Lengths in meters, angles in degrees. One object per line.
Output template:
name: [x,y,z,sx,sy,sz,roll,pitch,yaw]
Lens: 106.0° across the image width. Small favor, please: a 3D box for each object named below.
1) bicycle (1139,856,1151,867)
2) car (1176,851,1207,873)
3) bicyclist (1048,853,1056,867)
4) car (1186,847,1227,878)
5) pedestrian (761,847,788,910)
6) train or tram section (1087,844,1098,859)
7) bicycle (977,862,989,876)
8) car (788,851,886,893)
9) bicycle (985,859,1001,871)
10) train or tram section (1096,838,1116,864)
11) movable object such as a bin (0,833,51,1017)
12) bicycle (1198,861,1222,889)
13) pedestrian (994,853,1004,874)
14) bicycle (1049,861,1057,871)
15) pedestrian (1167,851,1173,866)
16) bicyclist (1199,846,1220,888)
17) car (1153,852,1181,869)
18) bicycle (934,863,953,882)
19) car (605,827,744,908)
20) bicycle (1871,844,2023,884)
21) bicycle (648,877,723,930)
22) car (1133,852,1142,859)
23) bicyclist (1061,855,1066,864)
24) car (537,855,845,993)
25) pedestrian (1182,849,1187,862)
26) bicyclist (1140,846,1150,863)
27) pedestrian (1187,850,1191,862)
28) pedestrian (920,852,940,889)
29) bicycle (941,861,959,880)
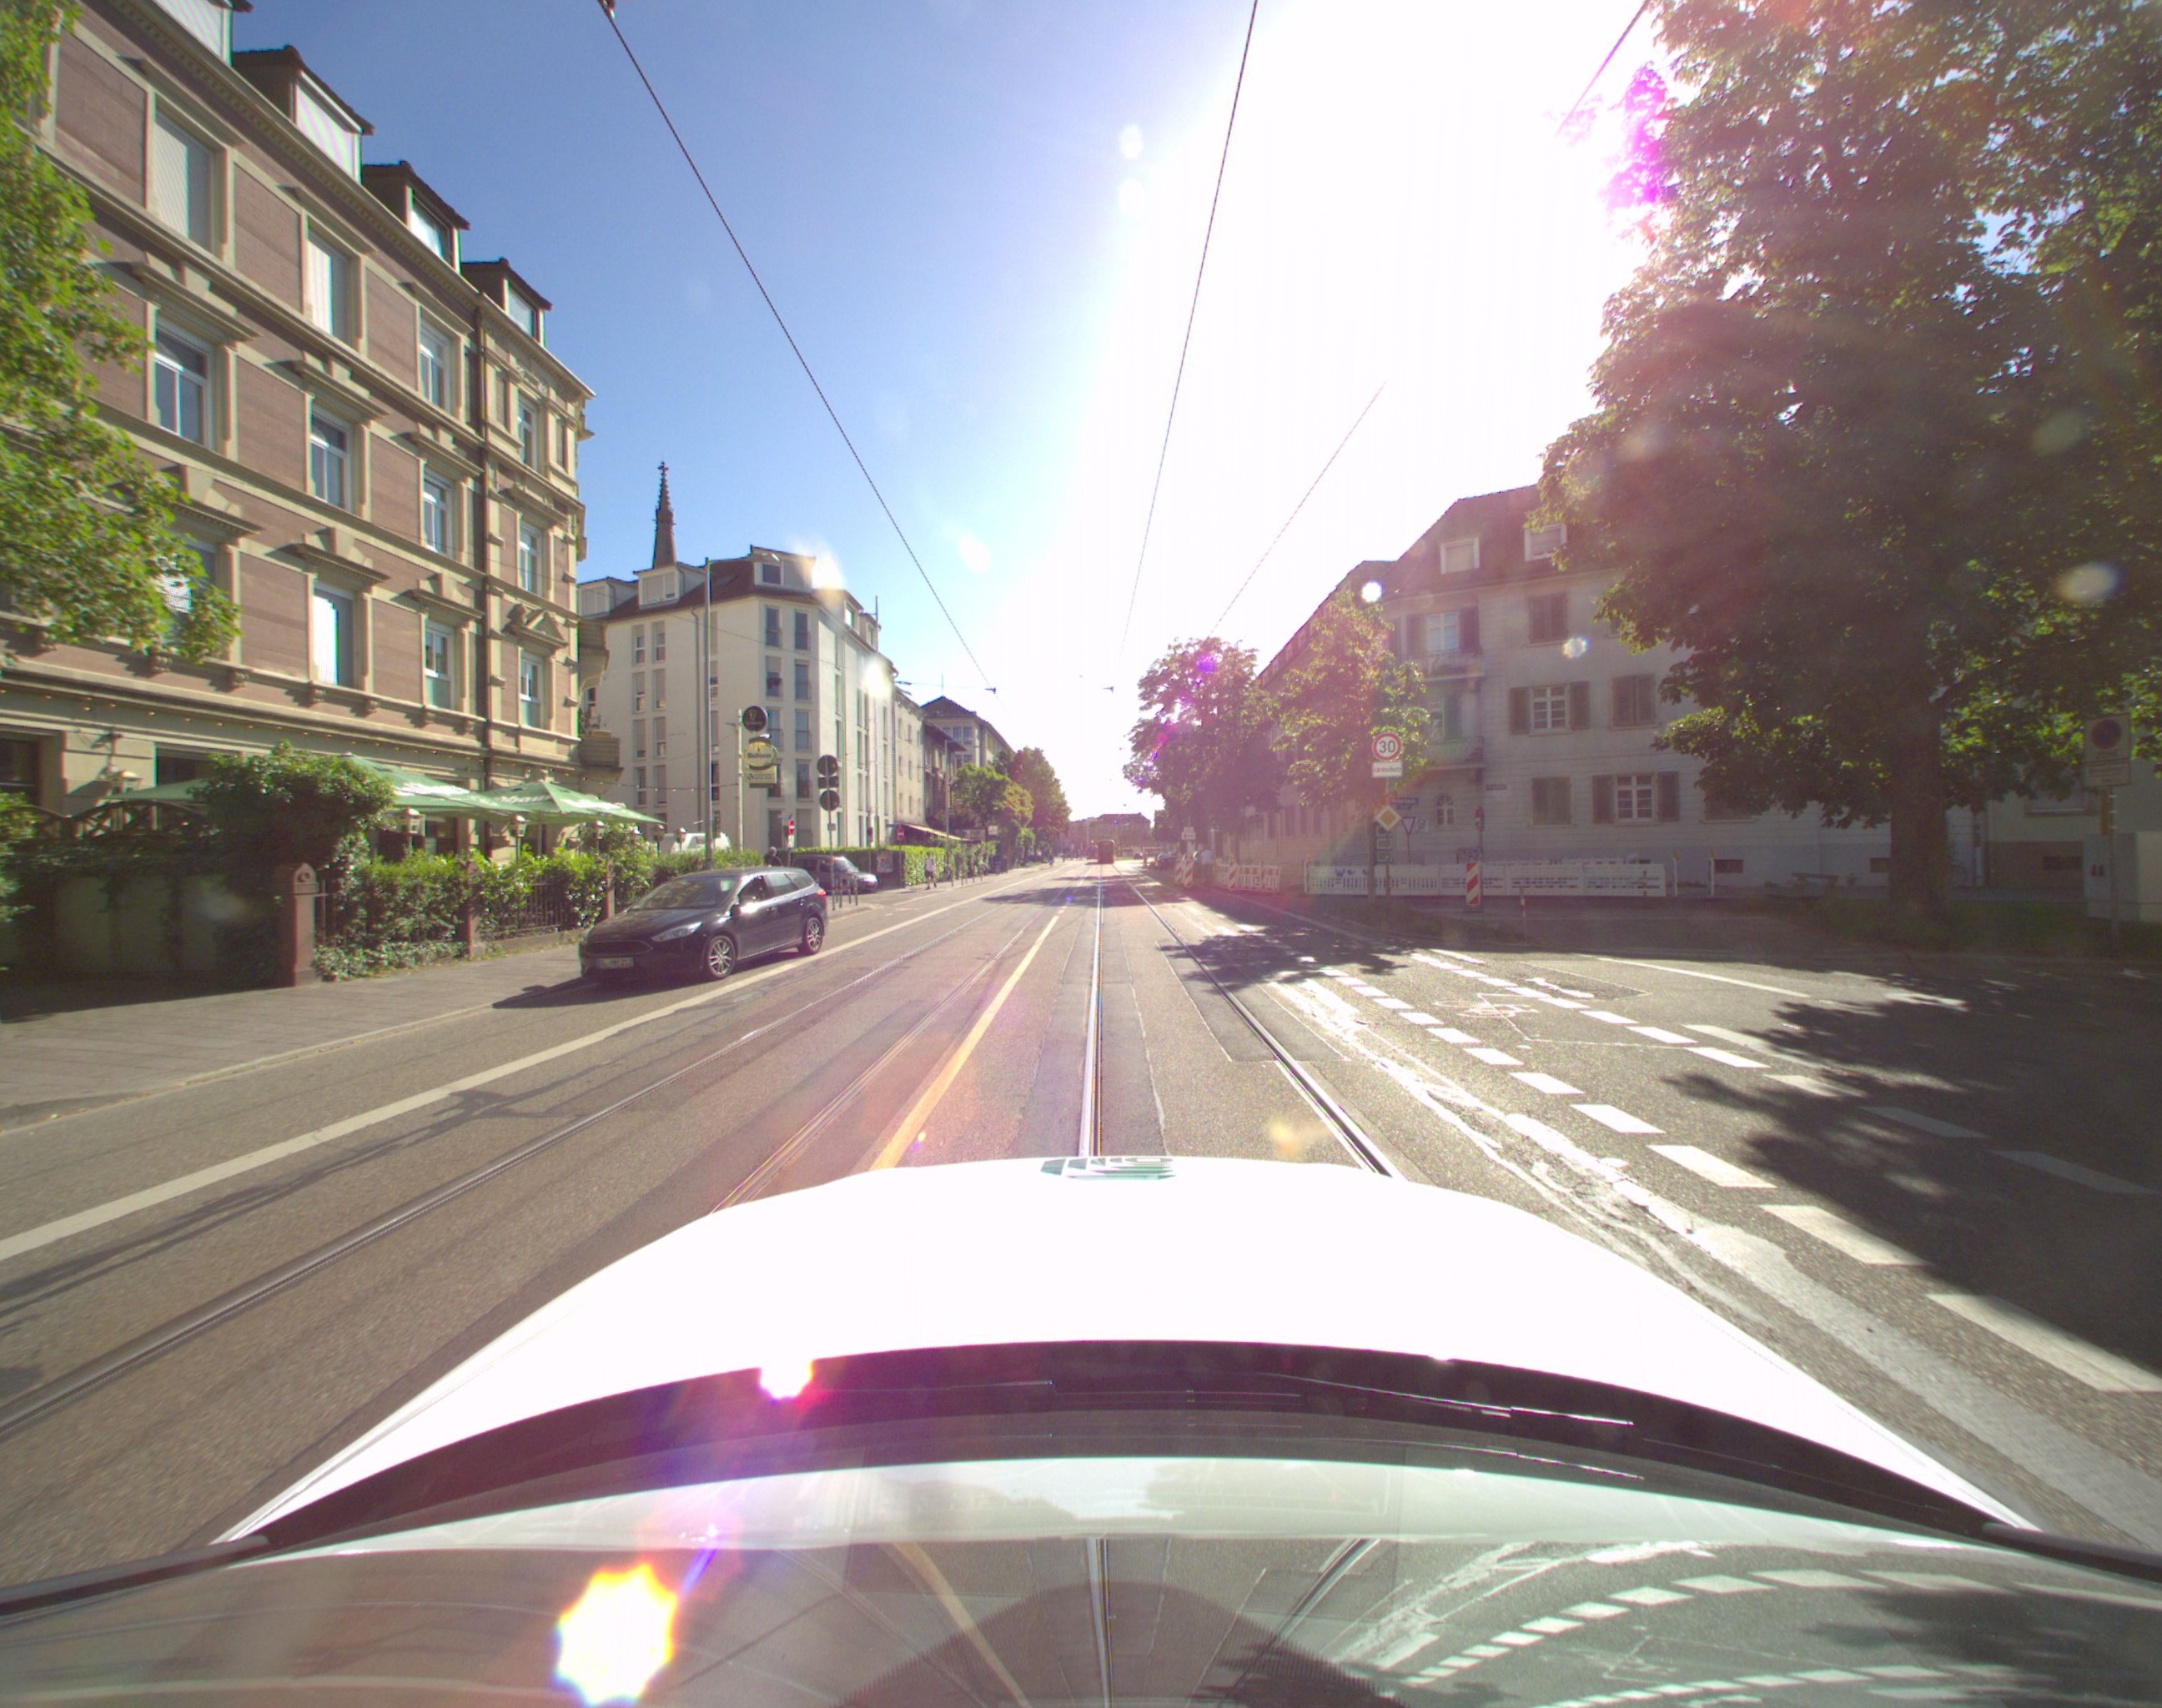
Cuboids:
bicycle: [6.314,0.716,80.655,0.699,1.104,1.726,1,1,21]
car: [7.602,0.550,56.410,1.716,1.382,4.359,-3,0,3]
bicyclist: [-3.499,0.733,98.892,0.742,1.599,1.118,-4,0,3]
car: [7.393,0.460,48.221,1.803,1.626,4.586,-3,0,2]
pedestrian: [-8.826,0.705,23.485,0.555,1.781,0.538,-1,-1,-2]
train or tram section: [3.145,-0.679,215.781,2.732,3.651,13.787,-1,0,1]
bicycle: [-7.465,1.125,62.155,0.636,1.059,1.744,1,0,3]
car: [-11.115,0.845,37.066,4.005,1.807,1.801,-2,-2,22]
bicycle: [-7.884,0.959,73.001,0.631,1.045,2.031,-1,0,18]
train or tram section: [3.684,-0.511,121.520,2.732,3.651,13.787,-1,0,1]
movable object such as a bin: [-10.886,0.659,7.666,1.275,1.731,1.047,2,0,17]
bicycle: [5.181,0.828,32.822,0.735,1.094,2.113,0,0,3]
pedestrian: [-7.328,0.853,72.912,0.570,1.831,0.693,-1,0,20]
bicycle: [-3.449,1.458,98.887,0.742,1.082,1.900,-4,0,3]
pedestrian: [11.681,0.598,106.747,0.681,1.849,0.955,-2,0,0]
bicyclist: [5.181,0.520,32.811,0.735,1.686,0.972,0,0,3]
car: [7.659,0.560,72.697,1.817,1.458,4.815,-3,0,-2]
bicycle: [-8.031,1.058,47.683,0.659,1.089,1.841,2,-1,2]
car: [-15.303,0.519,30.987,1.871,2.841,4.805,-2,-1,18]
bicycle: [25.578,0.293,24.133,3.073,1.112,0.529,-1,3,28]
bicycle: [-8.766,1.064,18.168,0.511,1.038,2.224,-1,0,2]
car: [11.970,0.335,173.460,1.780,1.604,3.719,0,0,6]
bicyclist: [-3.465,1.044,159.555,0.683,1.644,1.239,-3,0,6]
car: [-5.450,0.875,12.236,1.854,1.576,4.599,-3,0,8]
pedestrian: [13.159,0.168,103.606,0.515,1.600,0.765,-1,0,4]
bicyclist: [6.320,0.072,80.650,0.699,1.675,1.107,1,0,21]
pedestrian: [13.711,0.261,103.541,0.515,1.404,0.765,-1,0,4]
pedestrian: [-7.240,0.778,39.078,0.689,1.768,0.867,-1,0,2]
bicycle: [-7.984,1.009,49.706,0.659,1.089,1.841,2,-1,2]
